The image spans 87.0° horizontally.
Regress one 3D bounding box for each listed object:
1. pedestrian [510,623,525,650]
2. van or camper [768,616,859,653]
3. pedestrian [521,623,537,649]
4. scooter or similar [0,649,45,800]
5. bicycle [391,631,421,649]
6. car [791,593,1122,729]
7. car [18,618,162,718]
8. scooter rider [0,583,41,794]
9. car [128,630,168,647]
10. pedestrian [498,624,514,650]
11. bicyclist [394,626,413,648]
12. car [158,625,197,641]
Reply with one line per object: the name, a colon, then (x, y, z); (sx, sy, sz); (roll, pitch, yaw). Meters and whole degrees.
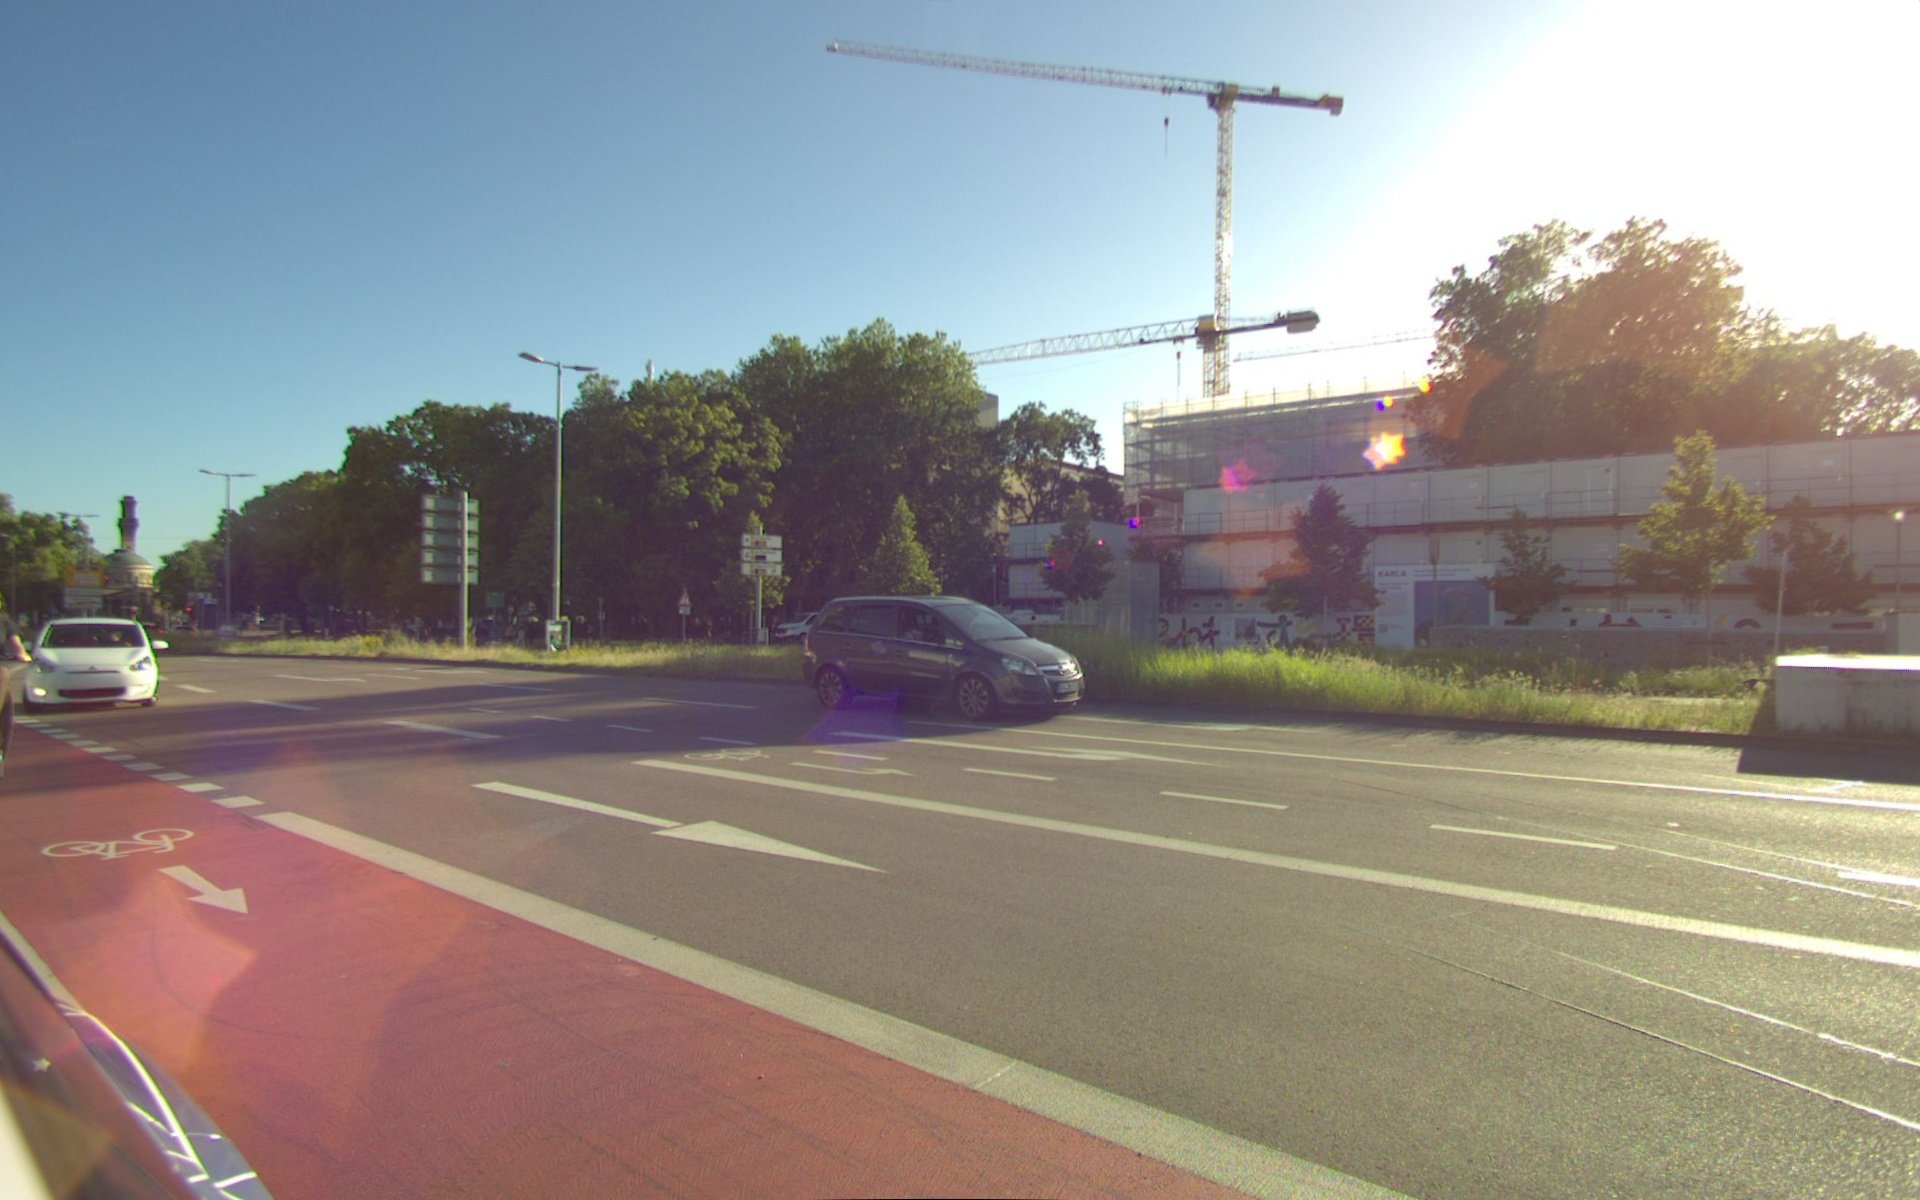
pedestrian: (-29.406, 2.427, 67.200); (0.762, 1.738, 0.656); (-2, -2, 41)
van or camper: (-8.921, 2.060, 61.946); (1.948, 2.029, 5.576); (-1, 0, 42)
pedestrian: (-28.869, 2.419, 67.765); (0.762, 1.738, 0.698); (-1, -2, 41)
scooter or similar: (-8.617, 1.058, 8.851); (1.664, 1.211, 0.721); (-1, -1, 41)
bicycle: (-32.465, 2.349, 59.289); (2.239, 1.030, 0.631); (-1, -2, 36)
car: (-0.176, 0.760, 14.248); (4.479, 1.619, 1.973); (-1, -1, 41)
car: (-14.681, 1.061, 17.242); (1.653, 1.460, 3.897); (-1, 0, -38)
scooter rider: (-8.537, 0.759, 8.789); (0.811, 1.788, 0.721); (-1, -1, 41)
car: (-69.723, 3.295, 86.890); (3.996, 1.409, 1.849); (-1, -2, 40)
pedestrian: (-29.849, 2.433, 66.481); (0.762, 1.738, 0.698); (-1, -2, 41)
bicyclist: (-32.698, 2.189, 59.477); (0.884, 1.292, 0.631); (-1, -2, 36)
car: (-75.799, 3.164, 97.968); (3.993, 1.519, 1.975); (-1, -2, 37)
